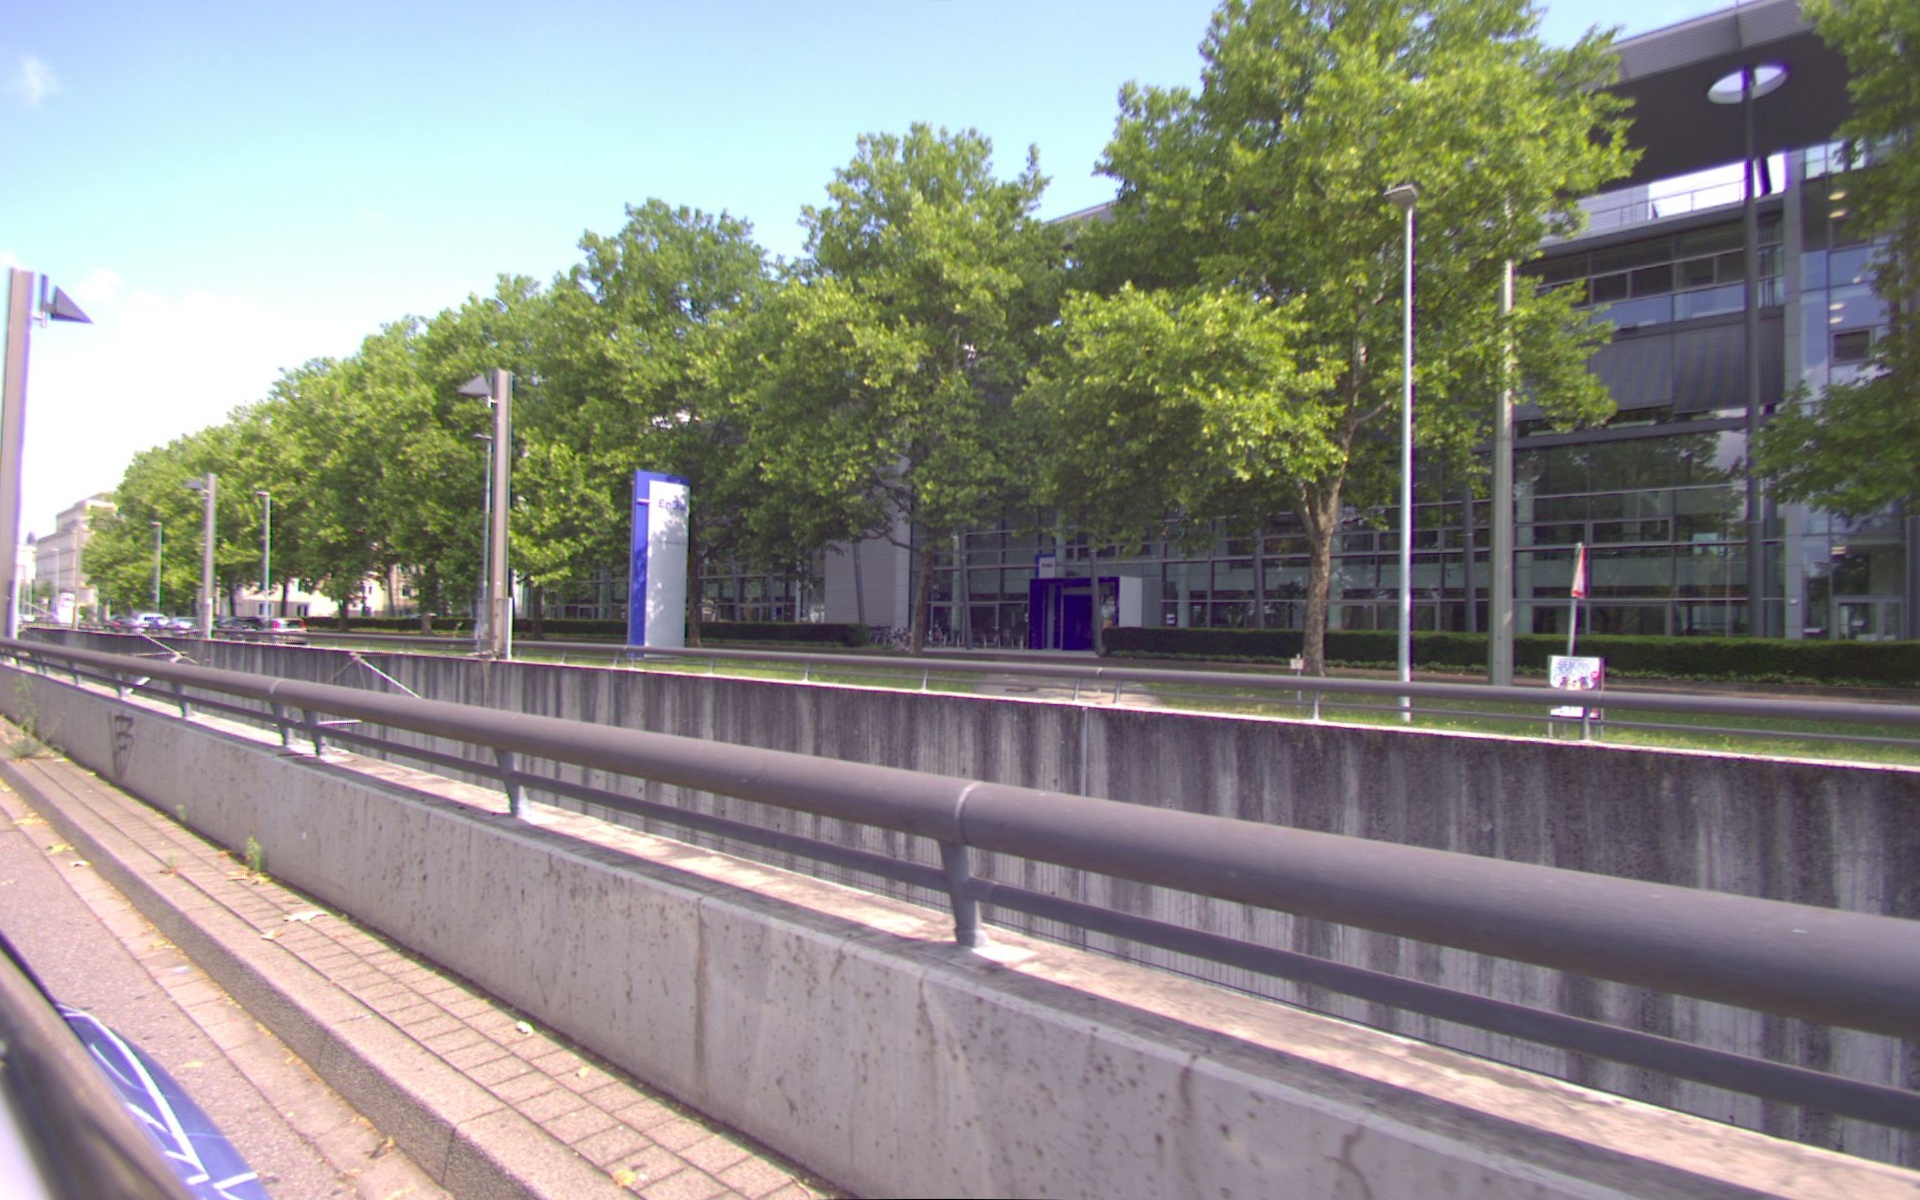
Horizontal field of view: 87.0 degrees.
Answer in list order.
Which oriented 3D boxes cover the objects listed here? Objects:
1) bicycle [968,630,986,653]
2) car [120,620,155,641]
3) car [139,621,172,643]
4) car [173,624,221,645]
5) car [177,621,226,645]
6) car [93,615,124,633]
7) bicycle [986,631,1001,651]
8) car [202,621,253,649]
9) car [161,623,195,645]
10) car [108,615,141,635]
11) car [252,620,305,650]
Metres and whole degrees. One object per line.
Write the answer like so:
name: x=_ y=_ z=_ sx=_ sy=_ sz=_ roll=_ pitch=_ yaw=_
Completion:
bicycle: x=0.890 y=2.192 z=54.372 sx=0.802 sy=1.186 sz=2.339 roll=0 pitch=-1 yaw=-2
car: x=-55.712 y=2.060 z=68.550 sx=3.184 sy=1.387 sz=1.292 roll=-1 pitch=-2 yaw=42
car: x=-52.219 y=2.092 z=65.677 sx=2.744 sy=1.387 sz=1.152 roll=-1 pitch=-2 yaw=42
car: x=-44.509 y=2.001 z=59.011 sx=3.126 sy=1.215 sz=1.590 roll=-1 pitch=-2 yaw=41
car: x=-44.634 y=1.924 z=59.520 sx=3.895 sy=1.387 sz=1.559 roll=-1 pitch=-2 yaw=42
car: x=-63.726 y=1.795 z=75.717 sx=3.184 sy=1.387 sz=1.292 roll=-1 pitch=-2 yaw=42
bicycle: x=1.789 y=2.176 z=54.301 sx=0.586 sy=1.031 sz=2.339 roll=0 pitch=-1 yaw=-2
car: x=-39.508 y=1.874 z=54.591 sx=3.156 sy=1.445 sz=1.561 roll=-1 pitch=-2 yaw=42
car: x=-47.935 y=2.065 z=62.002 sx=2.548 sy=1.252 sz=1.165 roll=-1 pitch=-1 yaw=41
car: x=-59.692 y=1.804 z=72.281 sx=3.184 sy=1.387 sz=1.292 roll=-1 pitch=-2 yaw=42
car: x=-33.880 y=1.729 z=50.307 sx=3.156 sy=1.467 sz=1.402 roll=-1 pitch=-2 yaw=42
